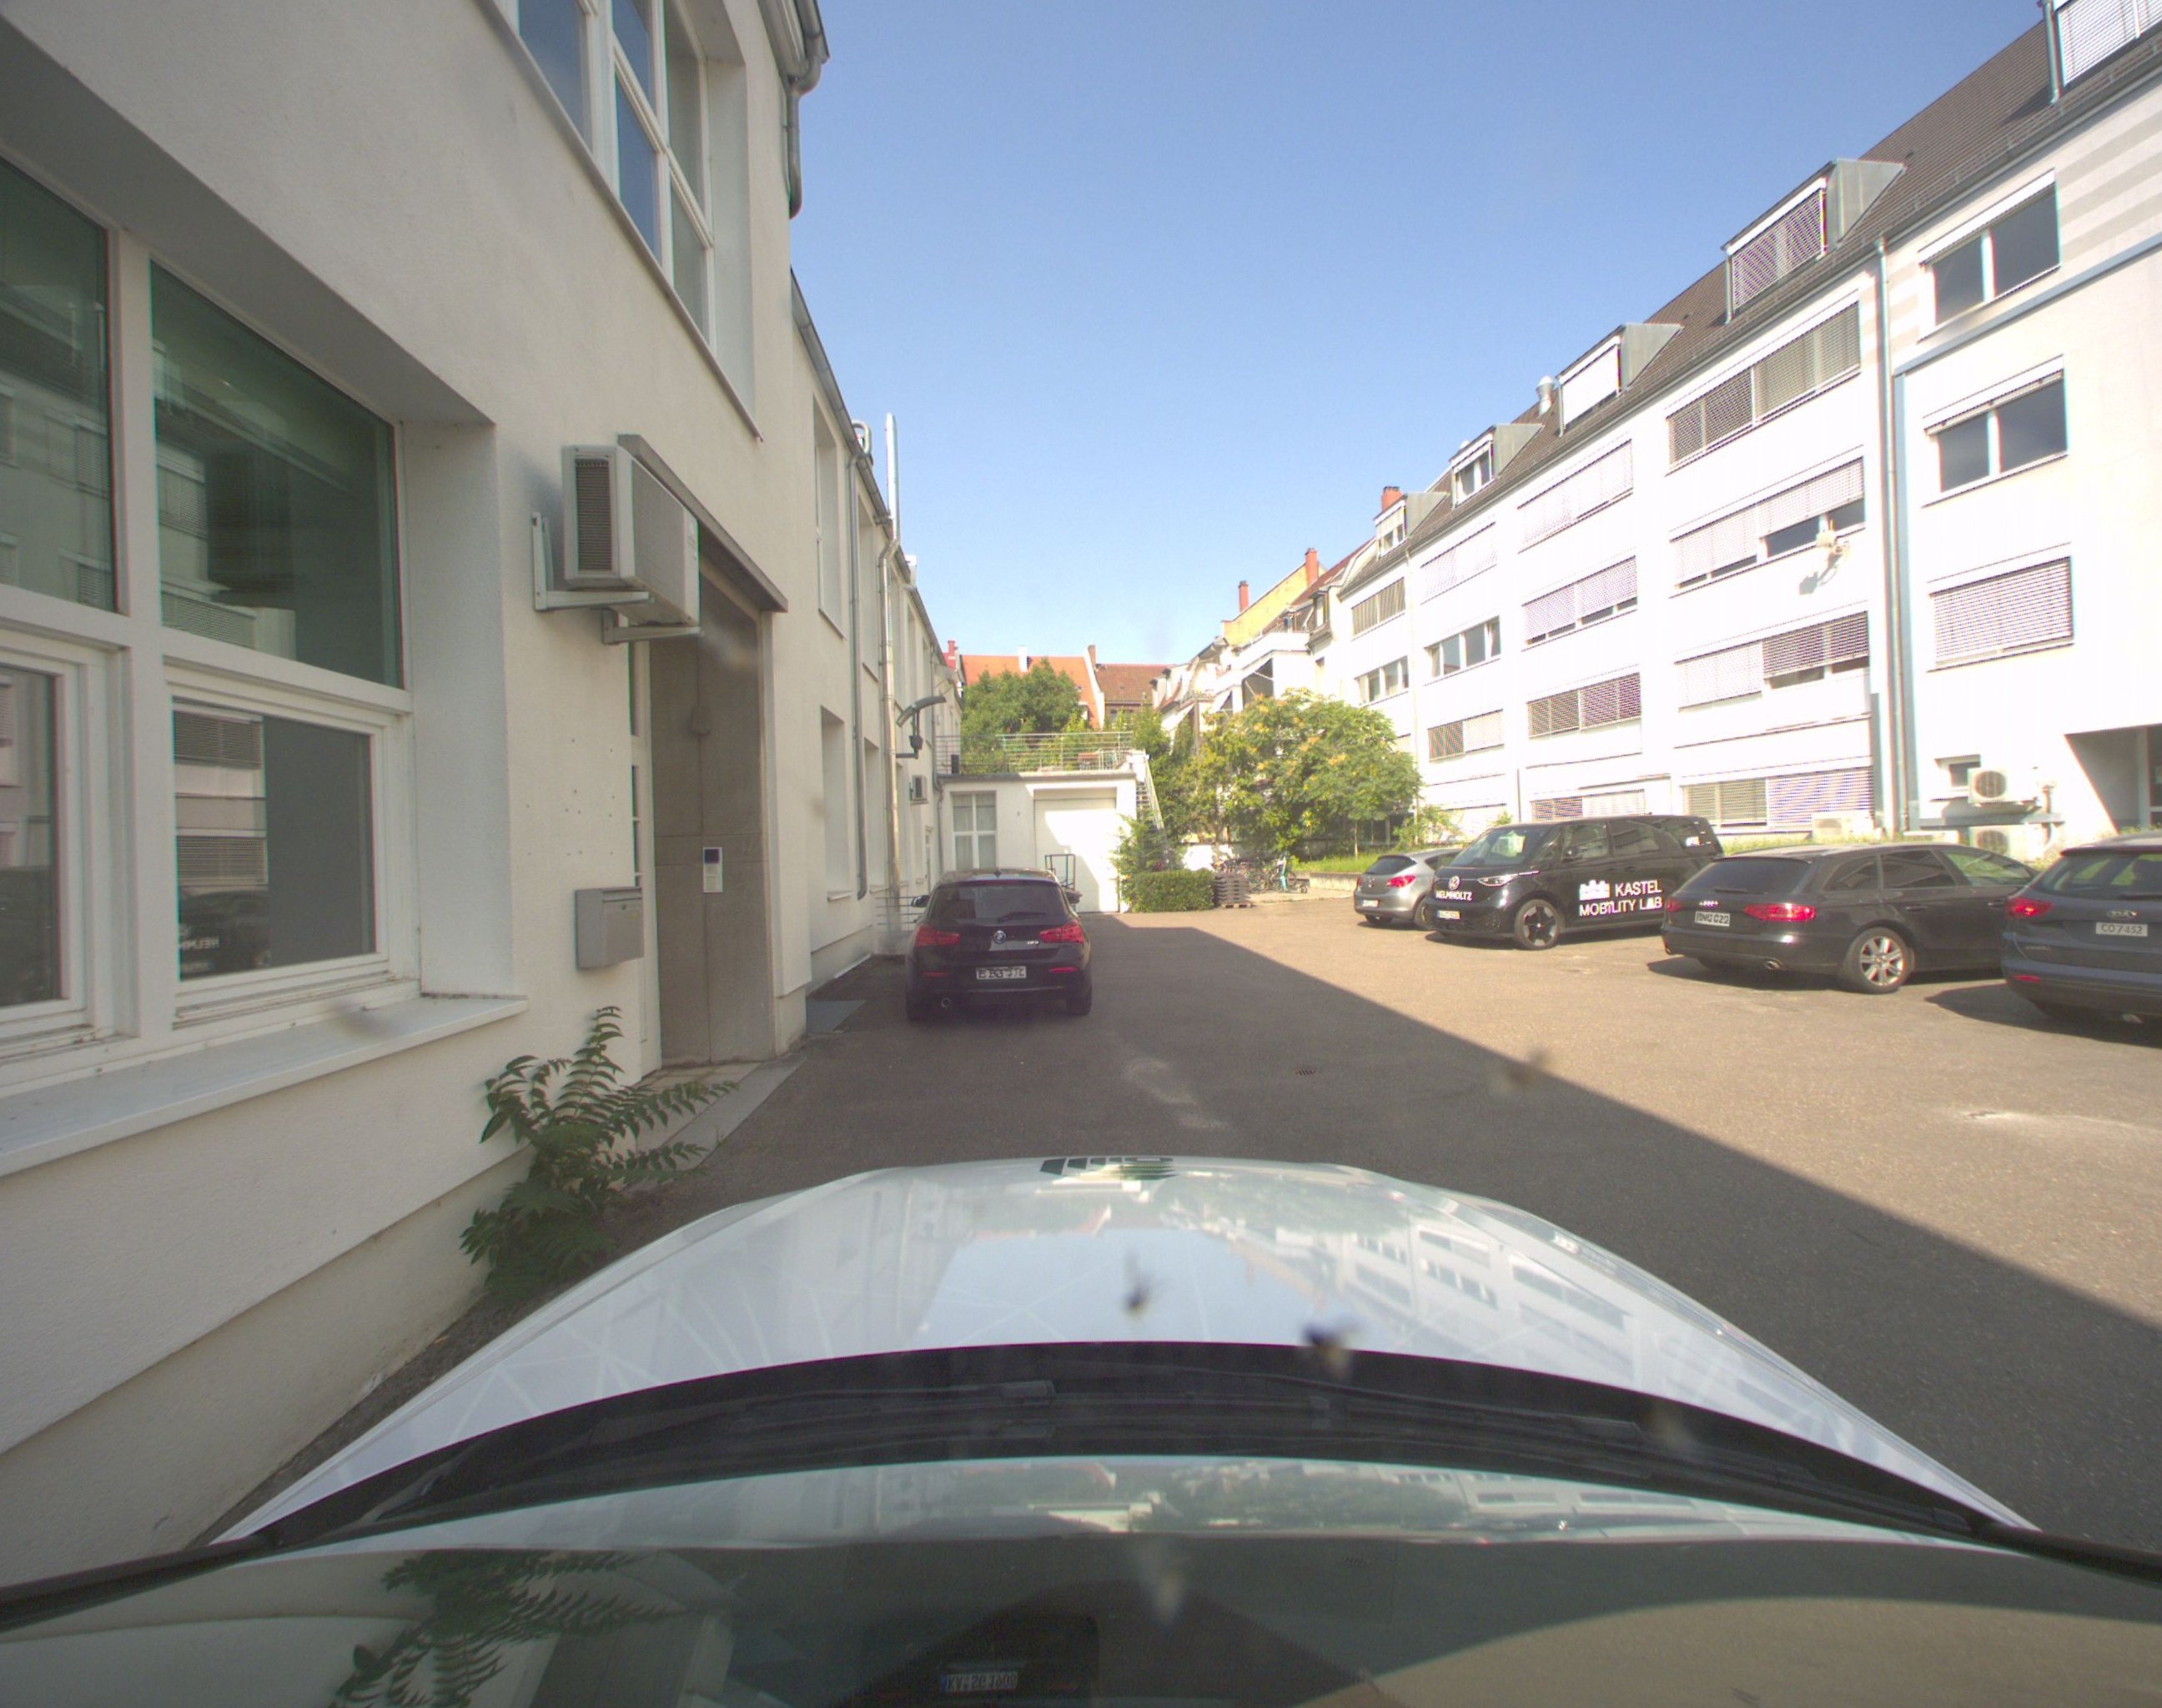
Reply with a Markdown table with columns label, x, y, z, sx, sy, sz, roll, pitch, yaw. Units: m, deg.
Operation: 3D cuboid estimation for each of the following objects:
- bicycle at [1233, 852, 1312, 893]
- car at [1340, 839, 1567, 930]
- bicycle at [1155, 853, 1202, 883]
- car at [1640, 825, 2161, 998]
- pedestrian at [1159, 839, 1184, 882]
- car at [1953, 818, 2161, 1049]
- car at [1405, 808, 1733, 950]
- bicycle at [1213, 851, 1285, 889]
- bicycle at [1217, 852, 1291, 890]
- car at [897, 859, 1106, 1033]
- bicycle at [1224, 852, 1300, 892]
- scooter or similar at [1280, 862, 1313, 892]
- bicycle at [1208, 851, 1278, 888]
| label | x | y | z | sx | sy | sz | roll | pitch | yaw |
| --- | --- | --- | --- | --- | --- | --- | --- | --- | --- |
| bicycle | 6.201 | 0.587 | 26.384 | 2.407 | 1.246 | 0.525 | -1 | 0 | -5 |
| car | 7.196 | 0.540 | 15.783 | 3.907 | 1.466 | 1.653 | -3 | 0 | -18 |
| bicycle | 4.042 | 0.567 | 33.694 | 1.999 | 1.143 | 0.485 | -3 | 1 | -29 |
| car | 8.538 | 0.520 | 8.628 | 4.228 | 1.437 | 1.687 | -2 | 0 | -7 |
| pedestrian | 3.774 | 0.264 | 33.851 | 0.613 | 1.771 | 0.853 | -1 | 0 | -29 |
| car | 9.007 | 0.450 | 5.885 | 4.046 | 1.478 | 1.737 | -2 | 0 | -9 |
| car | 7.634 | 0.323 | 12.867 | 4.341 | 1.859 | 1.905 | -3 | 0 | -14 |
| bicycle | 5.869 | 0.559 | 28.464 | 2.407 | 1.246 | 0.525 | -1 | 0 | -5 |
| bicycle | 5.905 | 0.573 | 27.790 | 2.407 | 1.246 | 0.525 | -1 | 0 | -5 |
| car | -0.921 | 0.805 | 9.177 | 1.791 | 1.428 | 4.126 | -1 | 0 | -7 |
| bicycle | 5.998 | 0.578 | 27.001 | 2.407 | 1.246 | 0.525 | -1 | 0 | -5 |
| scooter or similar | 6.893 | 0.728 | 26.088 | 0.362 | 0.924 | 0.987 | -1 | 0 | -42 |
| bicycle | 5.789 | 0.553 | 29.116 | 2.407 | 1.246 | 0.525 | -1 | 0 | -5 |
